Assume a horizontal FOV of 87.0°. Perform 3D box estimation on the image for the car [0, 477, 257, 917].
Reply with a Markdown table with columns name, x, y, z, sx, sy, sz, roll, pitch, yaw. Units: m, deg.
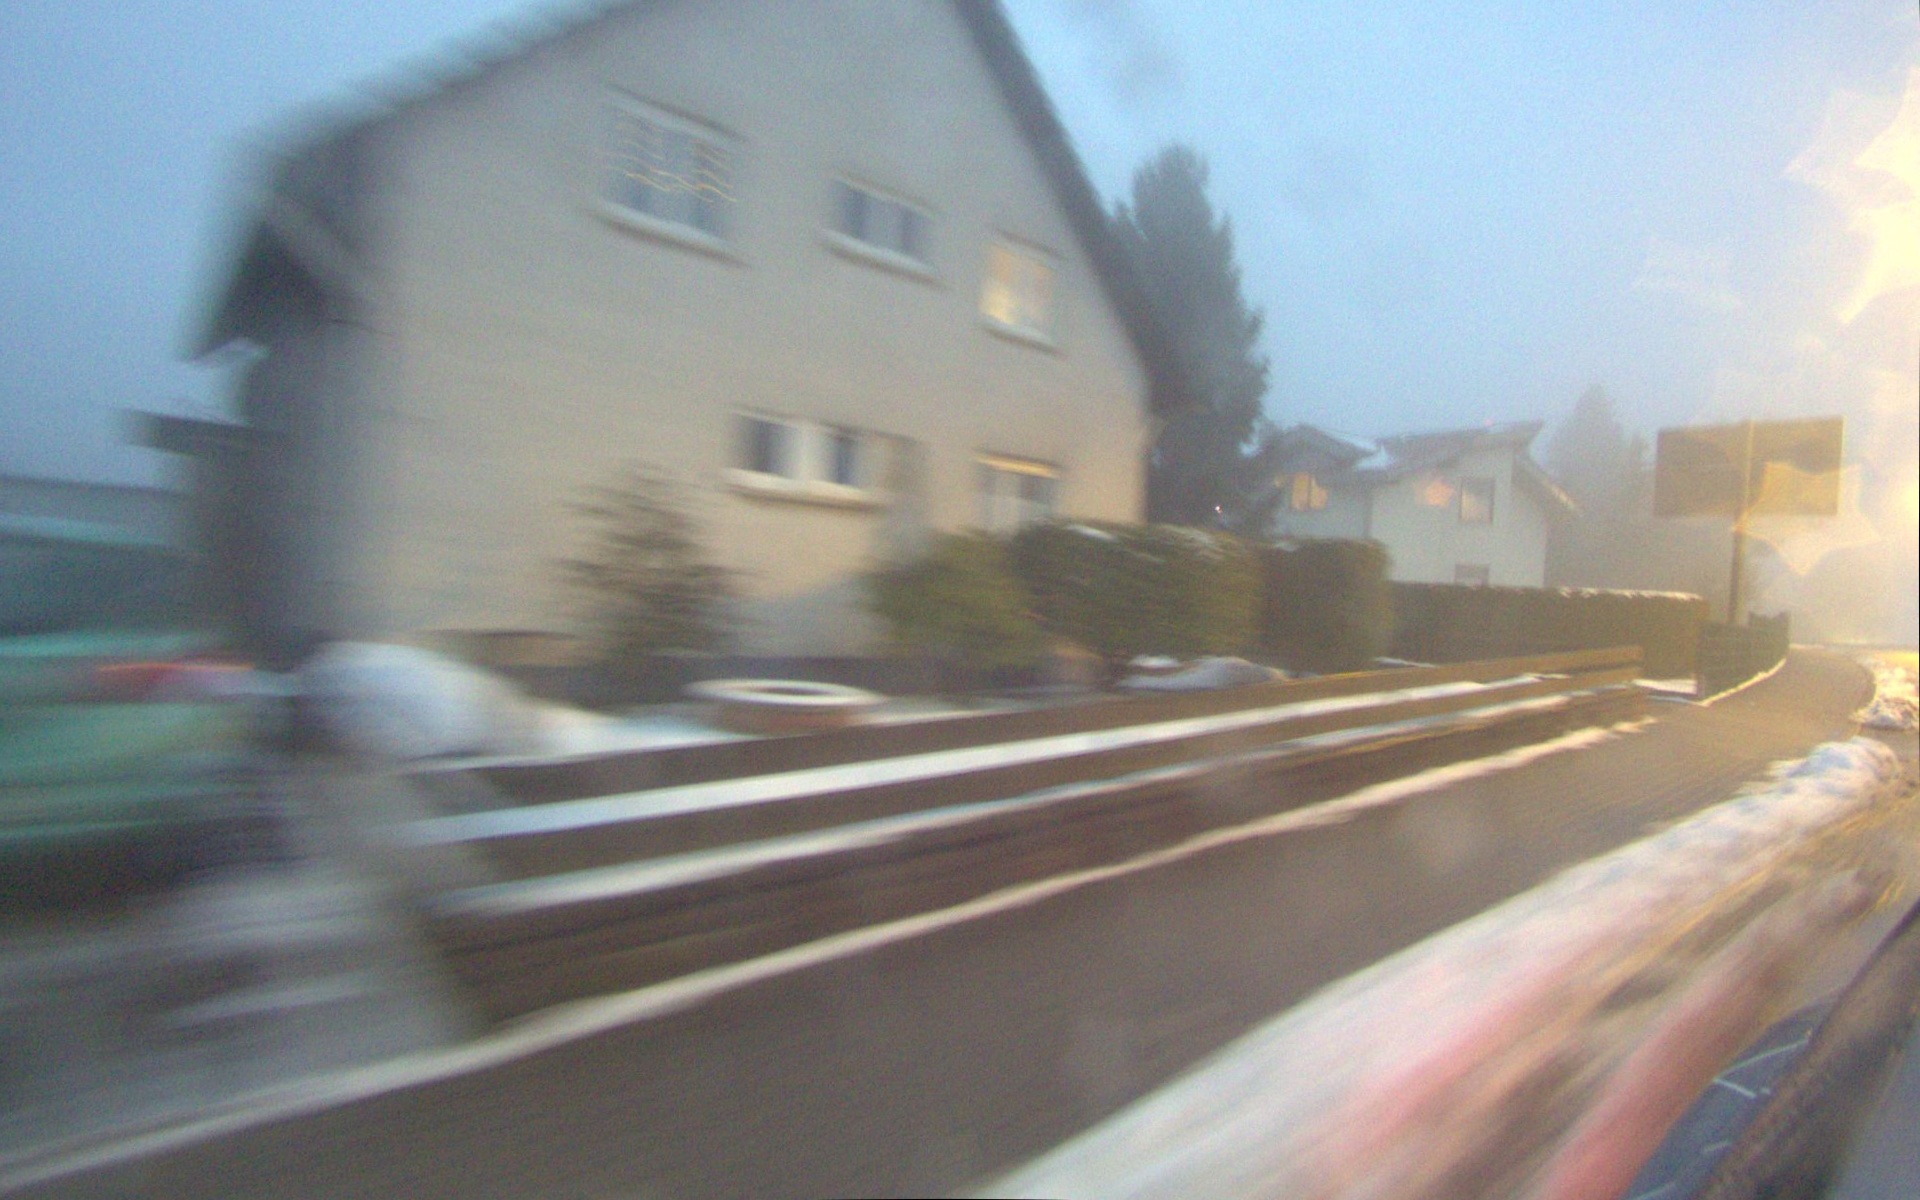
| name | x | y | z | sx | sy | sz | roll | pitch | yaw |
| --- | --- | --- | --- | --- | --- | --- | --- | --- | --- |
| car | -4.644 | 0.282 | 4.797 | 1.684 | 1.472 | 3.994 | 4 | -2 | -41 |

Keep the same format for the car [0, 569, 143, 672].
| name | x | y | z | sx | sy | sz | roll | pitch | yaw |
| --- | --- | --- | --- | --- | --- | --- | --- | --- | --- |
| car | -12.721 | 0.237 | 14.263 | 1.546 | 1.262 | 4.000 | 4 | -2 | -35 |
